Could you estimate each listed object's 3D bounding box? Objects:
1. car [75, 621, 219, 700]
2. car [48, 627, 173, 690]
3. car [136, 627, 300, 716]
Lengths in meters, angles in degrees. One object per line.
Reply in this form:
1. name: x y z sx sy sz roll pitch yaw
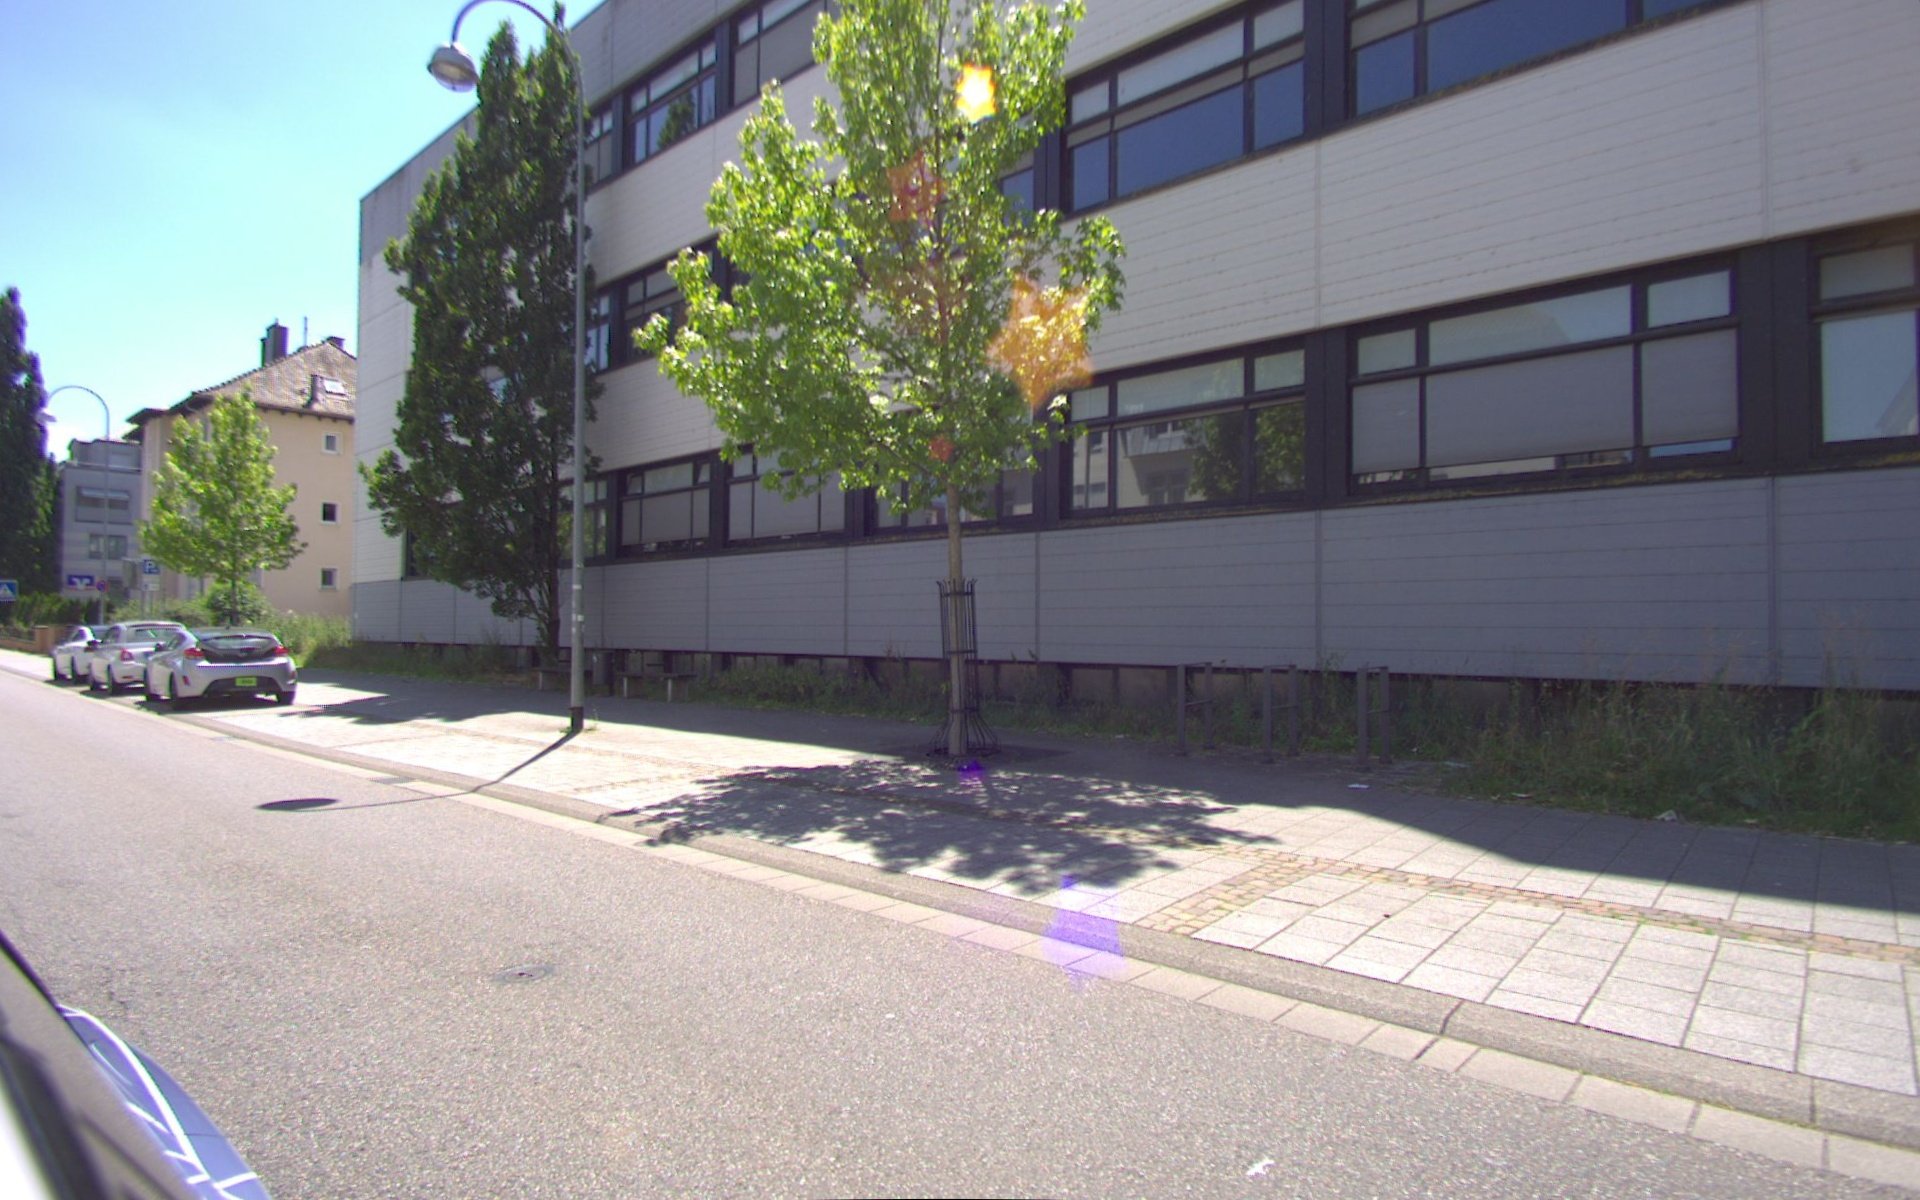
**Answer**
1. car: -18.002 1.256 22.344 4.288 1.523 1.803 -1 0 42
2. car: -21.639 1.413 25.716 4.576 1.422 1.803 -1 -1 42
3. car: -13.744 1.229 18.659 3.932 1.420 1.729 -1 -1 43
